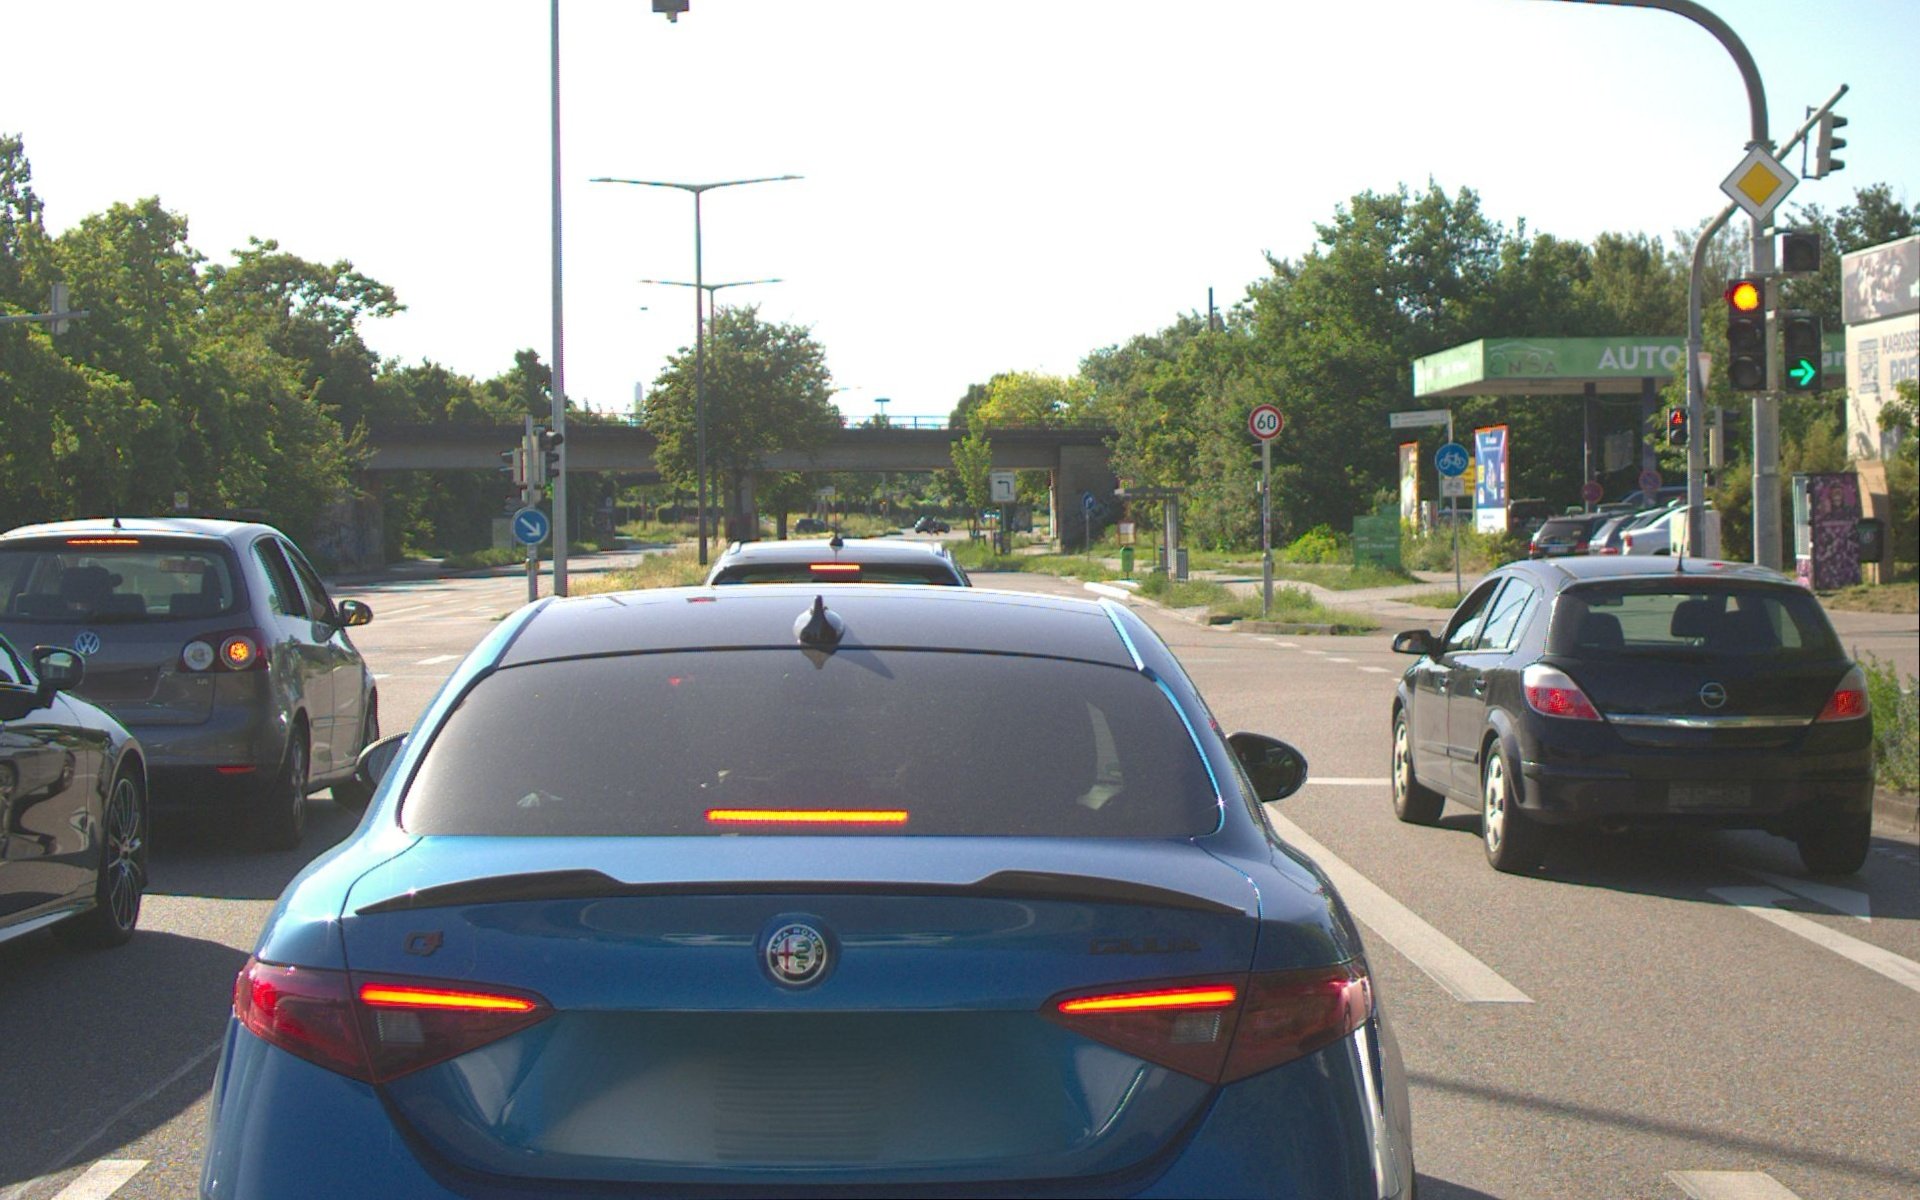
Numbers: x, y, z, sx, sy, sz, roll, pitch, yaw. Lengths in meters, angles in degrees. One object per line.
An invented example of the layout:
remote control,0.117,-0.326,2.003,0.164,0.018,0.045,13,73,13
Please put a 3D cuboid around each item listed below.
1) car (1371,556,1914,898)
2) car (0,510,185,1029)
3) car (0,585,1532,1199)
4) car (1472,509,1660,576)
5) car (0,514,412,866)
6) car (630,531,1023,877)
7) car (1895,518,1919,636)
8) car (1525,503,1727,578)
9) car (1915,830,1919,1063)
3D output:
car,3.203,0.520,16.994,1.734,1.437,4.372,1,1,-1
car,-3.771,0.491,10.633,1.812,1.546,4.544,0,1,-1
car,-0.227,0.704,6.109,1.910,1.418,3.719,1,0,1
car,14.636,-1.382,83.068,3.986,1.547,2.001,1,0,-18
car,-3.969,0.376,17.408,1.812,1.546,4.354,1,1,-2
car,-0.551,0.440,16.934,1.704,1.492,3.719,1,0,1
car,14.253,-0.249,42.586,4.818,1.463,1.759,1,0,-2
car,14.436,-1.292,74.682,3.987,1.547,2.000,1,0,1
car,3.713,0.636,7.951,1.783,1.531,4.108,1,1,-1
